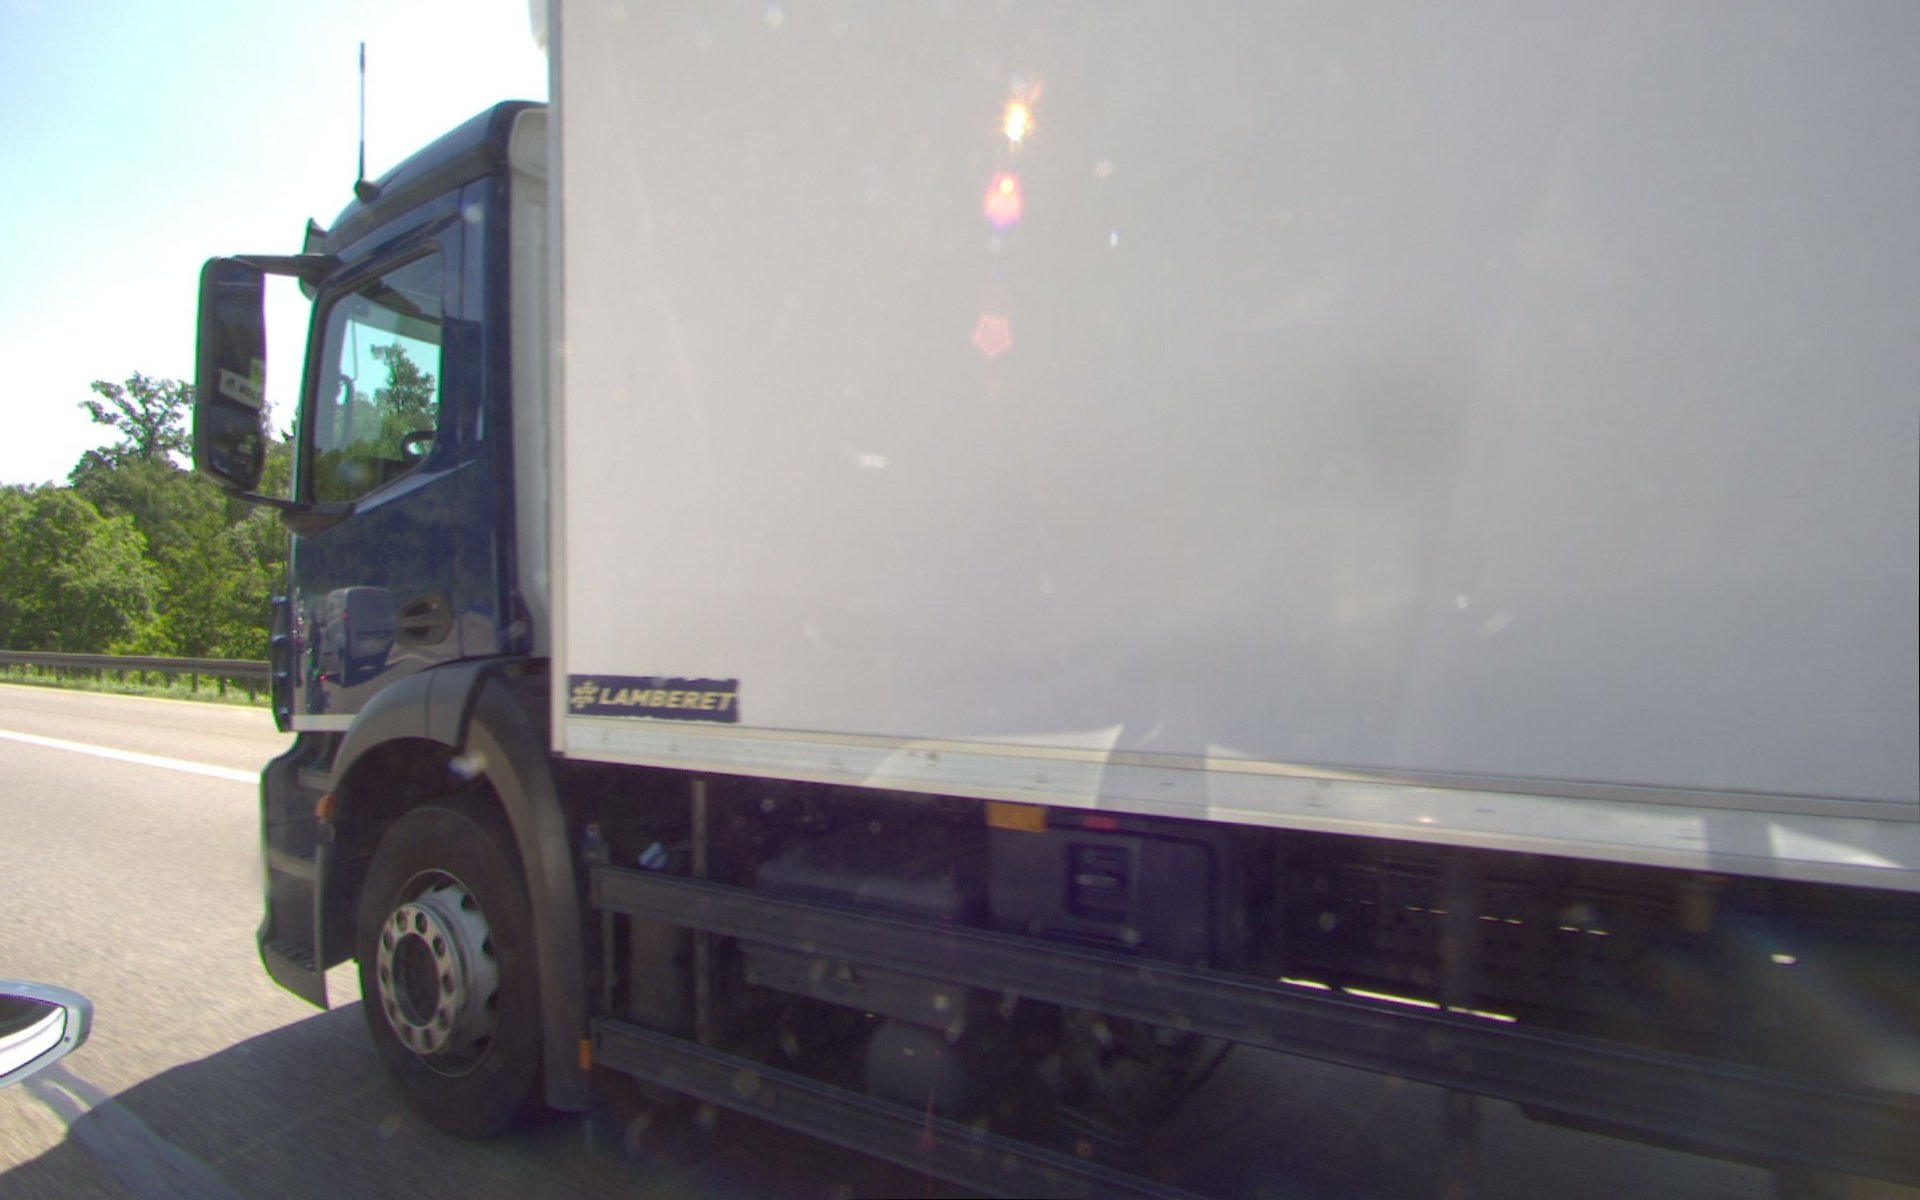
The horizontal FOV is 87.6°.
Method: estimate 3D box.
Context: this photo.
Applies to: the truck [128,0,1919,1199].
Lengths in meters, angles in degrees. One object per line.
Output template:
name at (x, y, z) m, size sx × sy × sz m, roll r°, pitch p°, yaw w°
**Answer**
truck at (1.926, -0.466, 2.021) m, size 9.640 × 3.927 × 2.682 m, roll -1°, pitch 0°, yaw 32°
